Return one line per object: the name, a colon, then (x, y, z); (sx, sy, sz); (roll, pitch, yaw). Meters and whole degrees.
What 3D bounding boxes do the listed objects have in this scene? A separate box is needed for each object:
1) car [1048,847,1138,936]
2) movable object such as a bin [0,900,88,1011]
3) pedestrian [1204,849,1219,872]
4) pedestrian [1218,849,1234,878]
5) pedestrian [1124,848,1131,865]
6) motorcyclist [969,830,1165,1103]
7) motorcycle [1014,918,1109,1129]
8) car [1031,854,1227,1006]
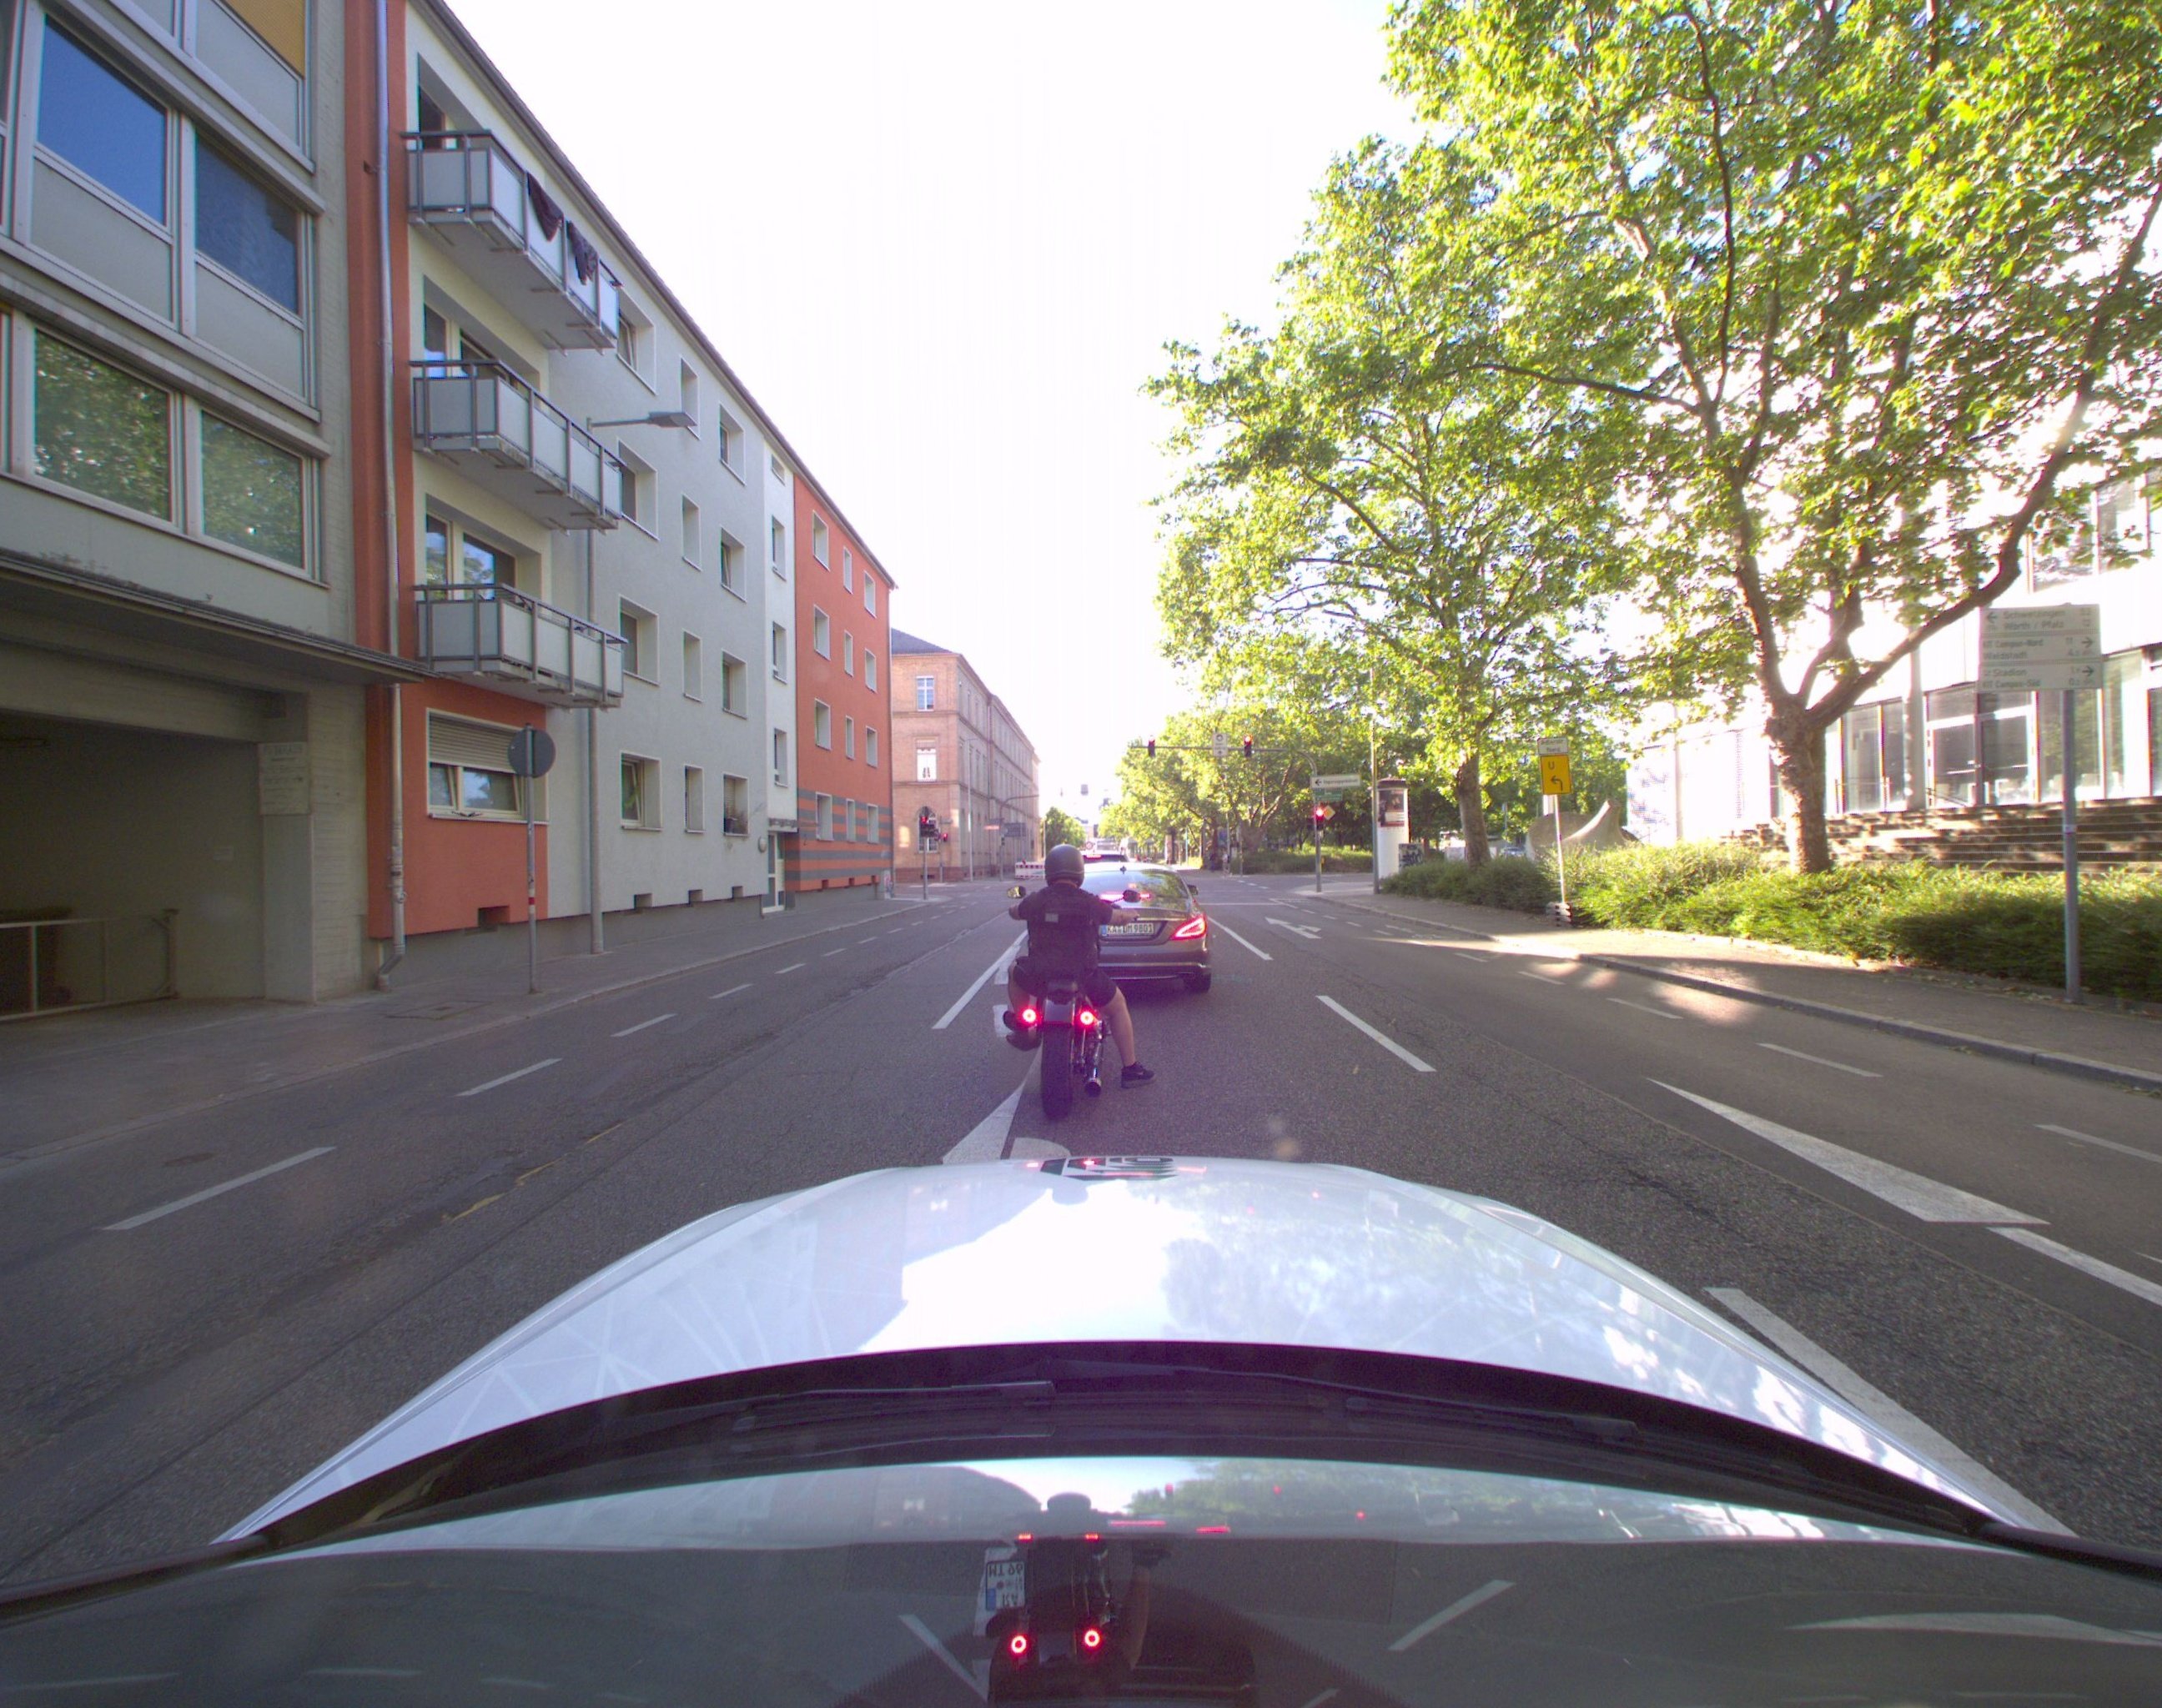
car: (0.277, 0.687, 16.865); (1.615, 1.594, 4.002); (-1, 0, 2)
movable object such as a bin: (-11.256, 1.057, 8.641); (0.626, 1.100, 0.659); (0, -1, 4)
pedestrian: (10.558, 0.527, 65.954); (0.753, 1.910, 0.918); (0, -1, -26)
pedestrian: (9.485, 0.629, 53.356); (0.996, 1.826, 1.078); (0, -1, 8)
pedestrian: (5.750, 0.274, 100.800); (0.761, 2.051, 0.712); (0, -1, 1)
motorcyclist: (-0.066, 0.666, 5.432); (1.145, 1.598, 1.288); (0, -1, 1)
motorcycle: (-0.076, 0.998, 5.433); (0.511, 1.002, 2.014); (0, -1, 2)
car: (0.518, 0.734, 9.737); (1.875, 1.449, 3.821); (0, 0, 2)
